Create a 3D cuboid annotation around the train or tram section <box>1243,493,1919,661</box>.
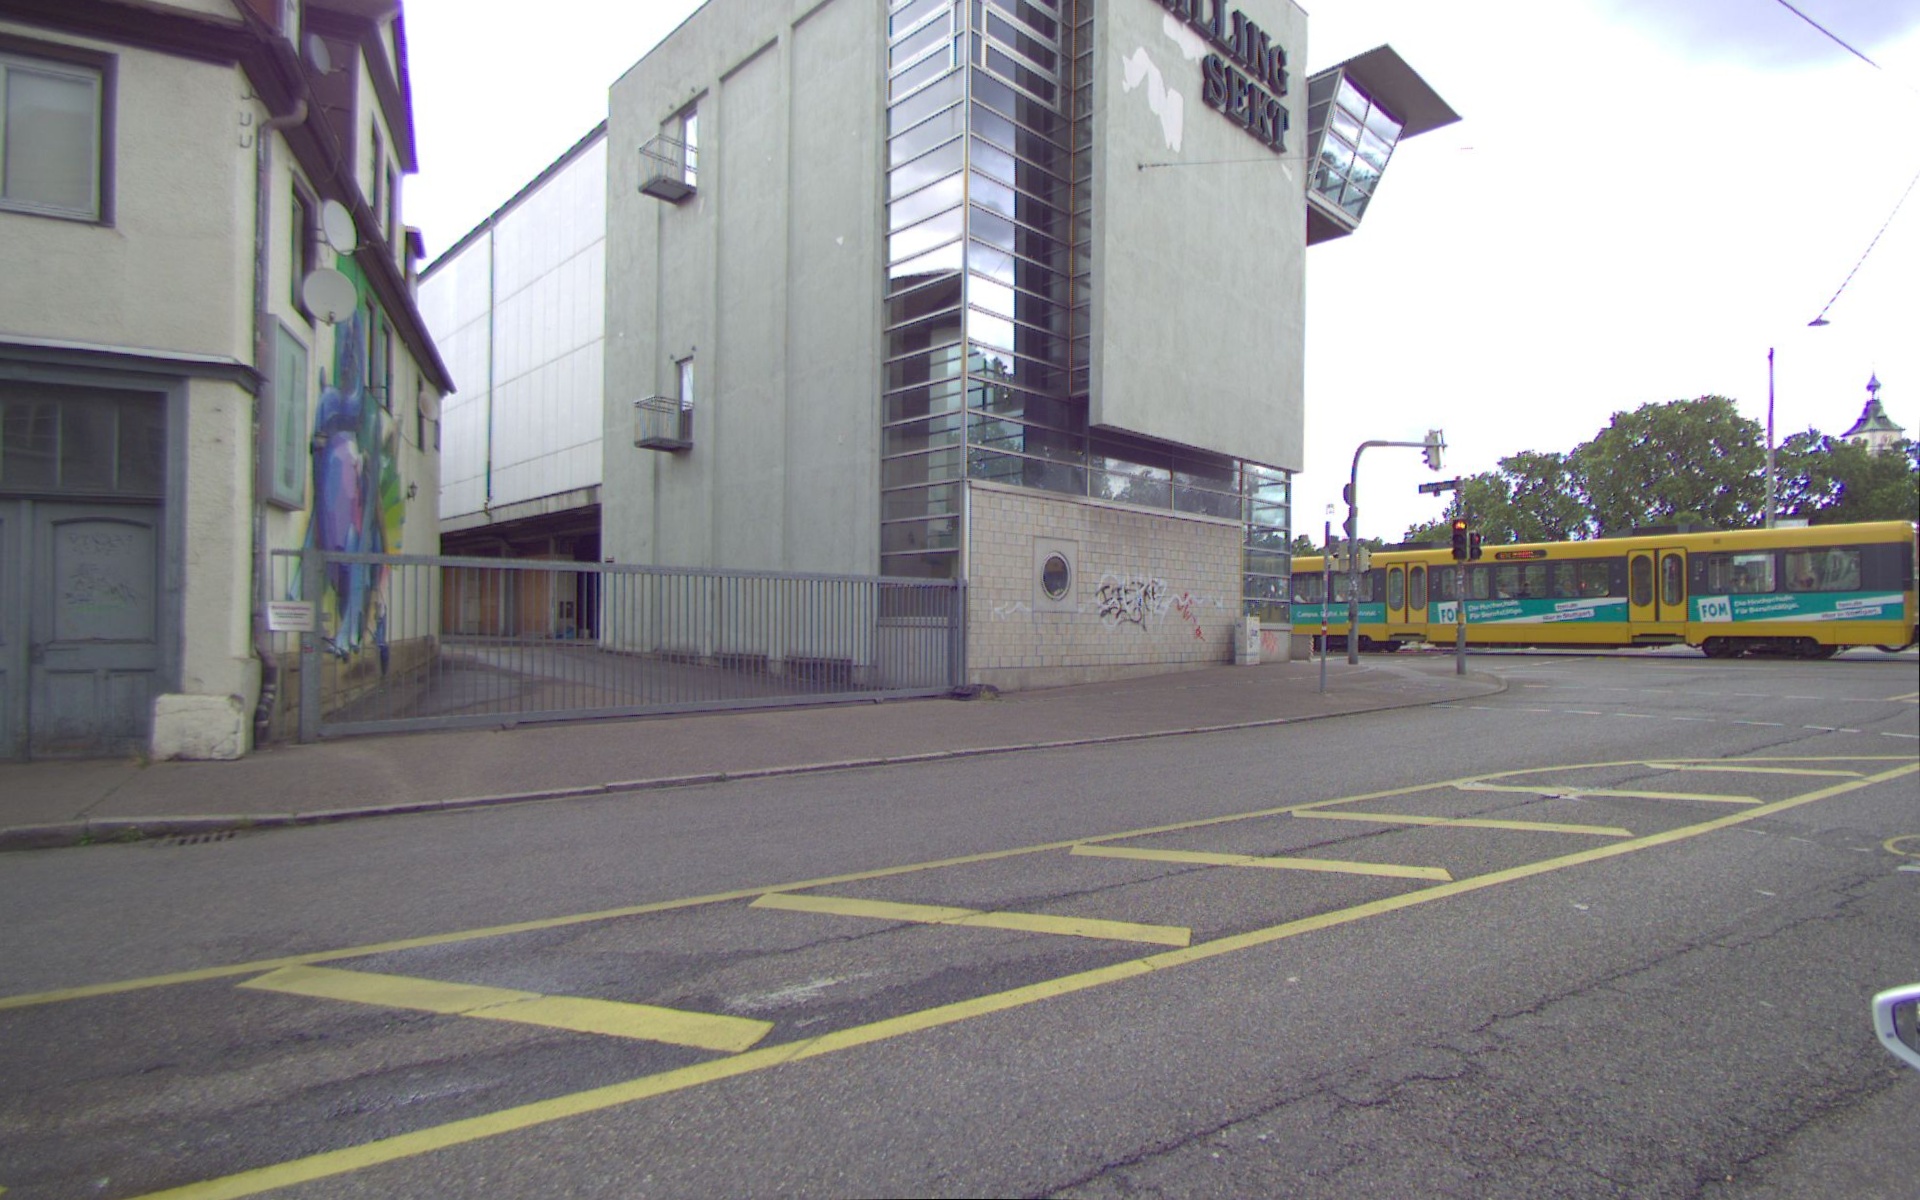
[{"bbox_3d":[18.346,-0.298,32.223,3.283,4.056,19.058,-2,-1,-41],"label":"train or tram section"}]
